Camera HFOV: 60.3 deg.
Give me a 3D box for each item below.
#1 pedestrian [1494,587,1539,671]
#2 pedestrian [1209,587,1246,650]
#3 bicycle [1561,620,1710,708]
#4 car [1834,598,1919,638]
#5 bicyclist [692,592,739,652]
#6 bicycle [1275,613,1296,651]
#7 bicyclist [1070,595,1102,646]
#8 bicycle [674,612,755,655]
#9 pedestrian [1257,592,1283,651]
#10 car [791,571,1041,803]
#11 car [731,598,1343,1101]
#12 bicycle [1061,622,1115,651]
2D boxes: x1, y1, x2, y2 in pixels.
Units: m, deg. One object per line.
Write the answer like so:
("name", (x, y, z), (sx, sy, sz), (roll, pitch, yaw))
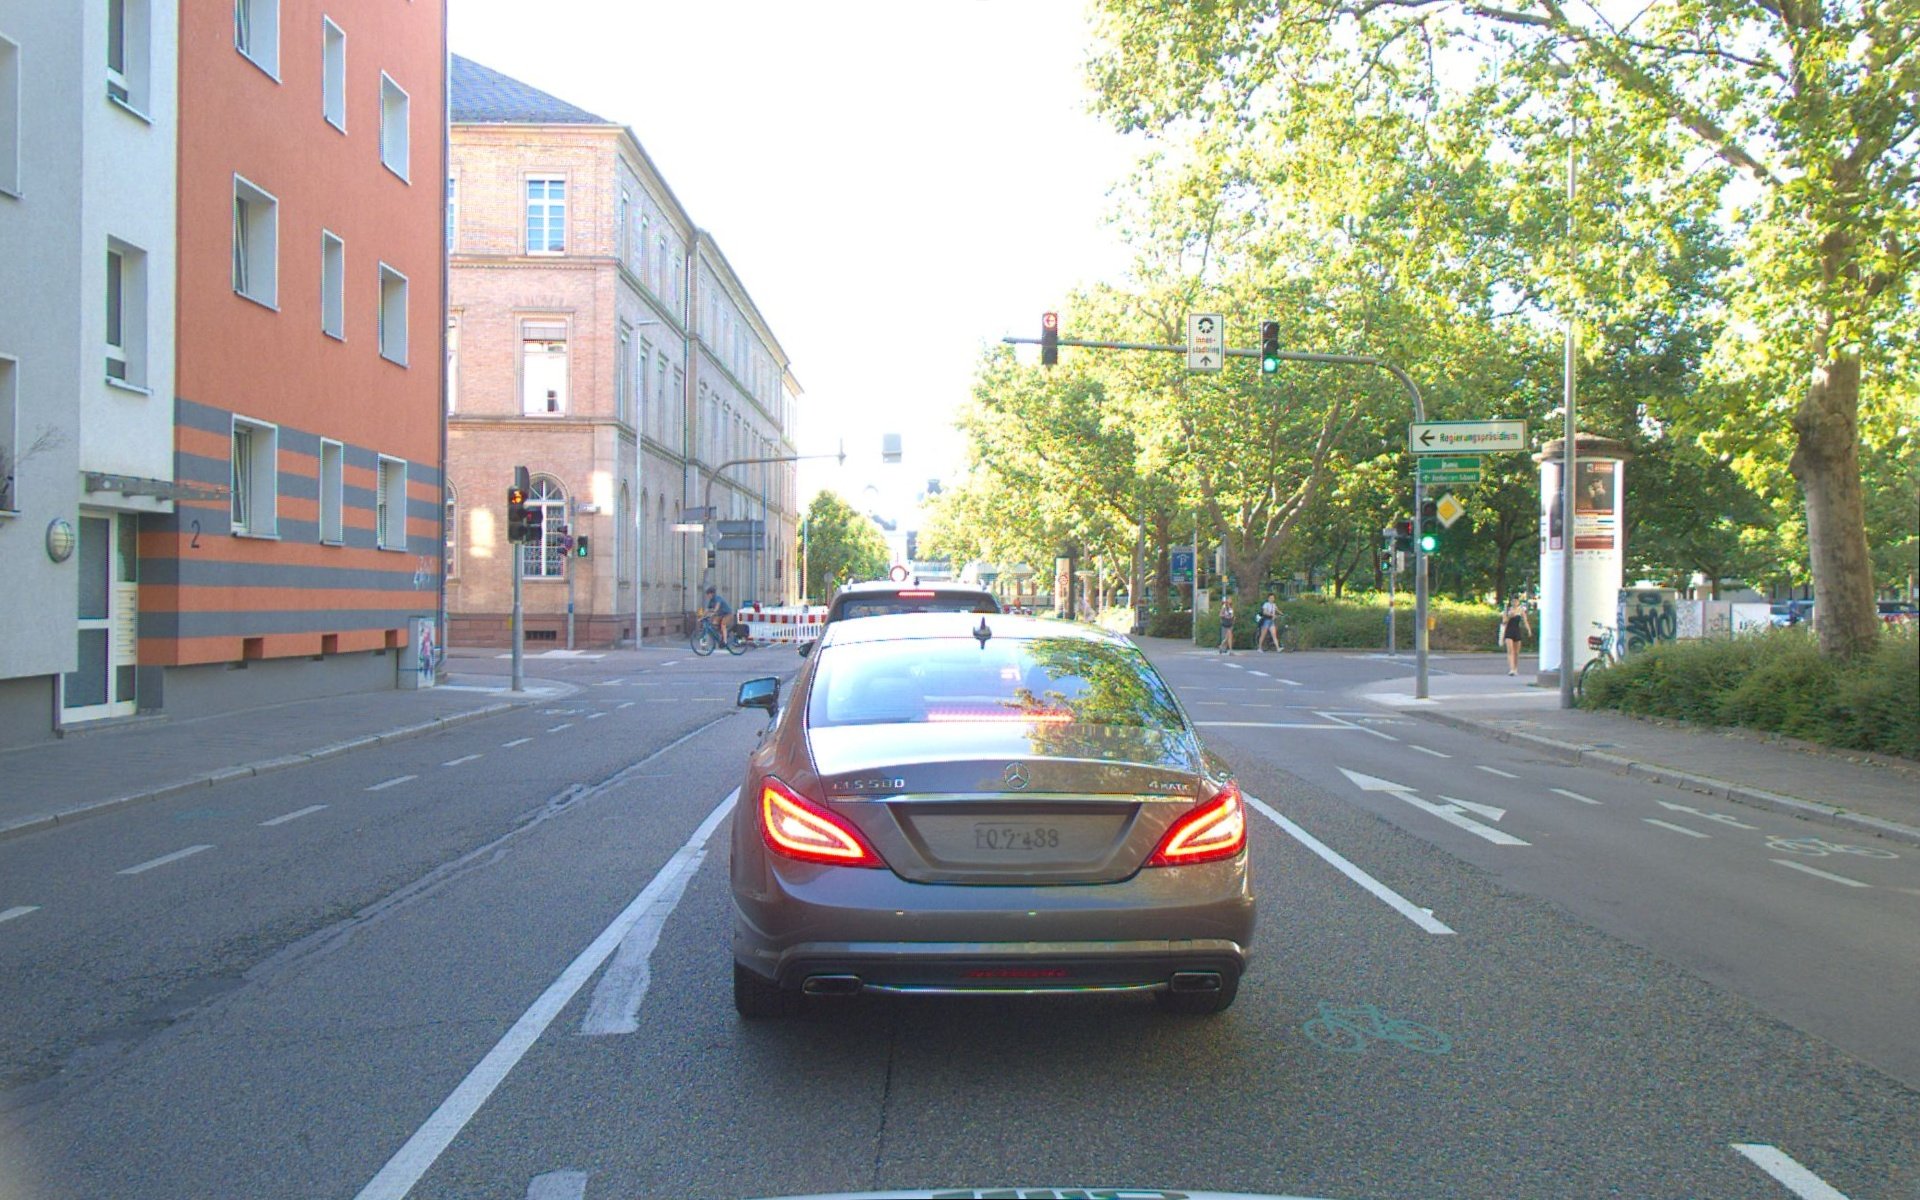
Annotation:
("pedestrian", (11.177, 0.582, 33.245), (0.781, 1.659, 0.908), (1, -1, 15))
("pedestrian", (7.935, 0.553, 49.088), (0.722, 1.840, 0.902), (0, -2, -24))
("bicycle", (9.697, 0.909, 23.762), (1.936, 1.210, 0.528), (1, -1, -2))
("car", (36.264, 0.694, 65.152), (1.596, 1.508, 3.794), (1, 0, -2))
("bicyclist", (-6.314, 0.571, 42.737), (0.941, 1.526, 0.813), (1, -1, -32))
("bicycle", (9.661, 0.942, 49.074), (0.513, 1.119, 1.742), (1, 0, 14))
("bicyclist", (4.013, 0.653, 52.650), (0.799, 1.586, 0.641), (1, -1, -40))
("bicycle", (-6.331, 0.872, 42.716), (1.938, 1.081, 0.698), (1, -1, -33))
("pedestrian", (9.232, 0.646, 49.202), (0.669, 1.727, 0.971), (1, -1, 15))
("car", (-0.285, 0.625, 13.728), (1.772, 1.641, 4.000), (0, 0, 1))
("car", (0.028, 0.742, 7.128), (1.807, 1.454, 4.512), (1, 0, -6))
("bicycle", (4.080, 1.159, 52.709), (1.850, 0.906, 0.542), (1, -1, -40))
